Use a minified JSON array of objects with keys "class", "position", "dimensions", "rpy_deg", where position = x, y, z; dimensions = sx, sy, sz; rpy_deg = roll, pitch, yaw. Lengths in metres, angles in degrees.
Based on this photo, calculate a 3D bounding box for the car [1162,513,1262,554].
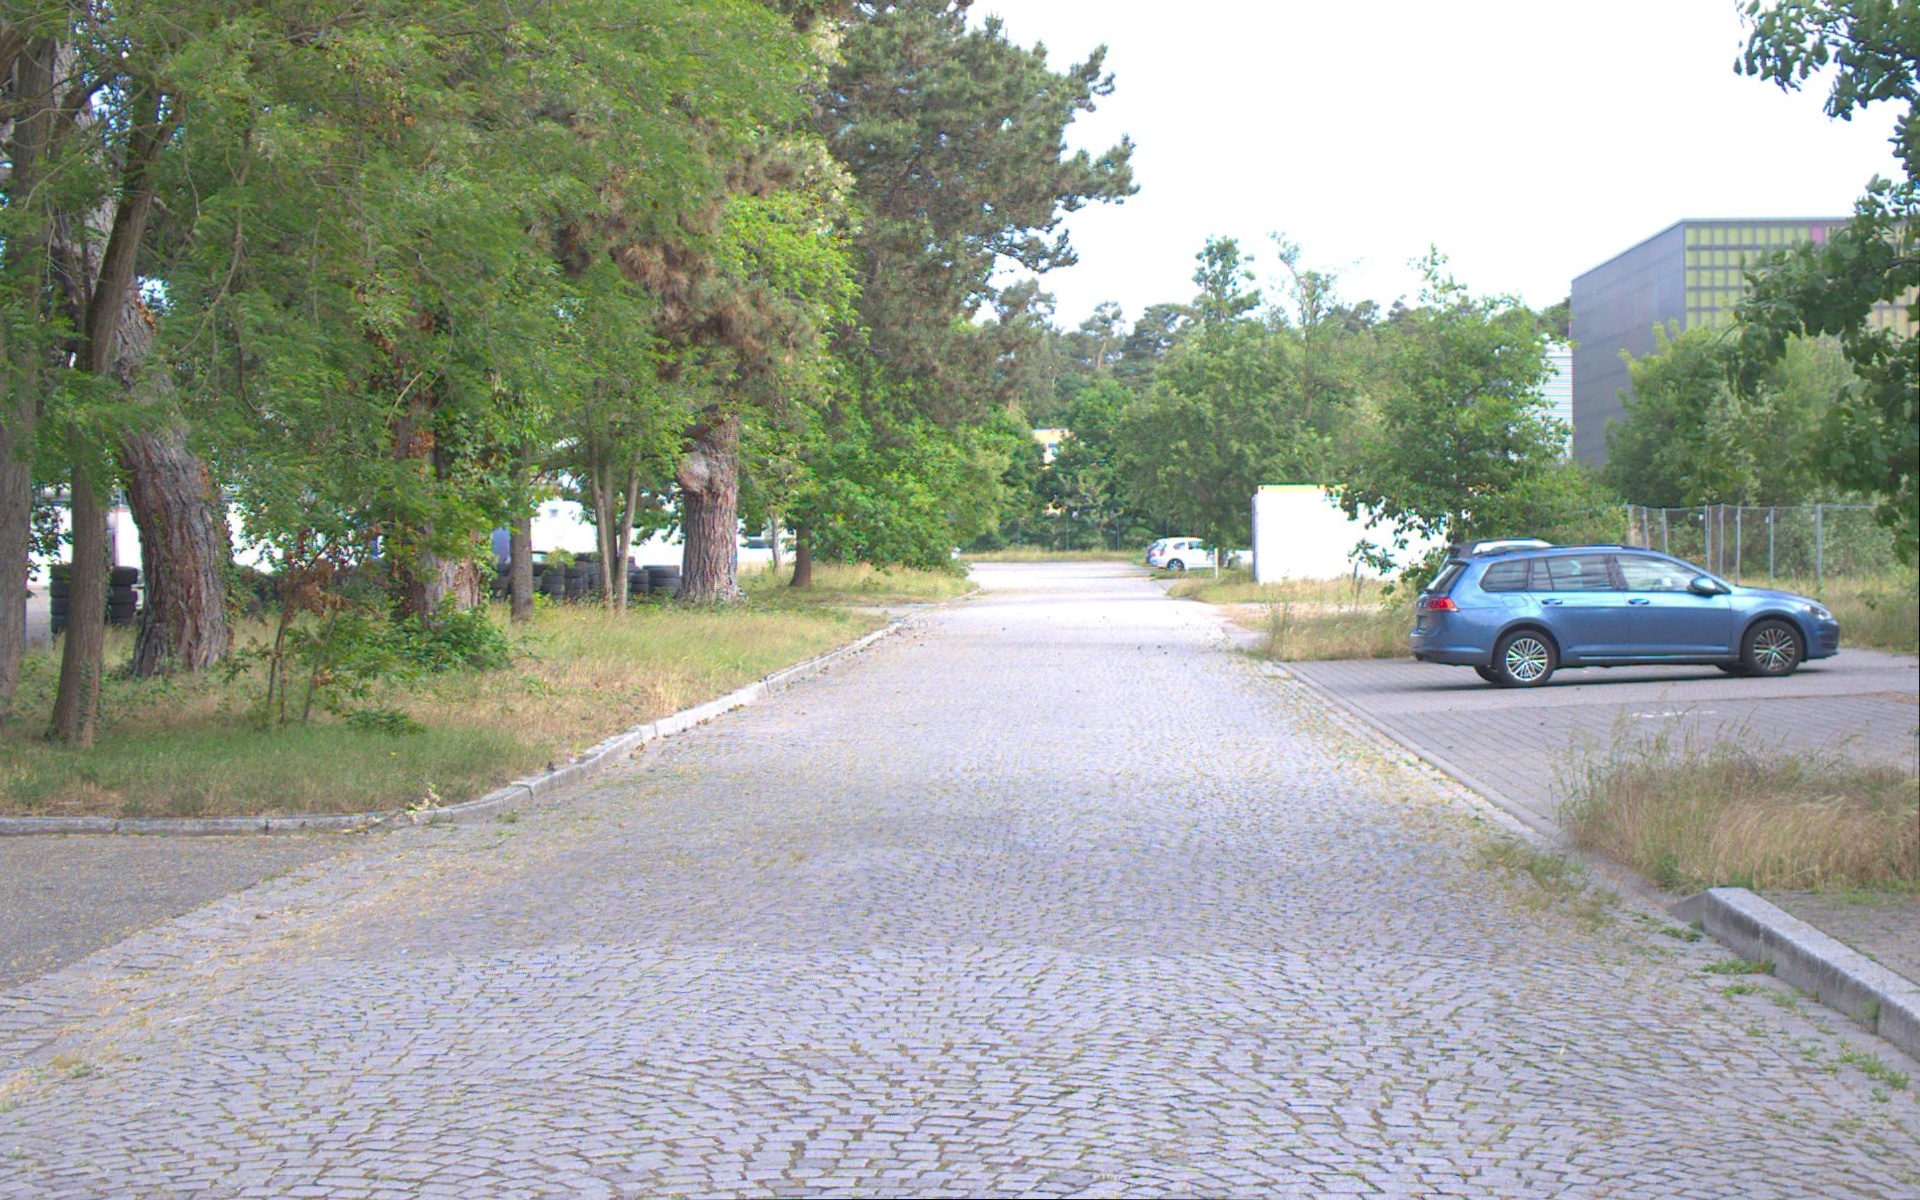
[{"class":"car","position":[11.118,-2.932,151.697],"dimensions":[4.355,1.774,1.925],"rpy_deg":[0,1,4]}]

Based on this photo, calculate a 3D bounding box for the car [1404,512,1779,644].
[{"class":"car","position":[8.124,-0.301,44.555],"dimensions":[4.518,1.526,2.000],"rpy_deg":[-2,1,3]}]

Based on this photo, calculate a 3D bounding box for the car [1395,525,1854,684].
[{"class":"car","position":[7.137,0.026,37.255],"dimensions":[4.517,1.526,2.000],"rpy_deg":[-2,1,-1]}]

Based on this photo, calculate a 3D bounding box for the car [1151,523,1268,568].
[{"class":"car","position":[9.476,-2.077,130.767],"dimensions":[4.355,1.682,1.925],"rpy_deg":[0,1,1]}]
